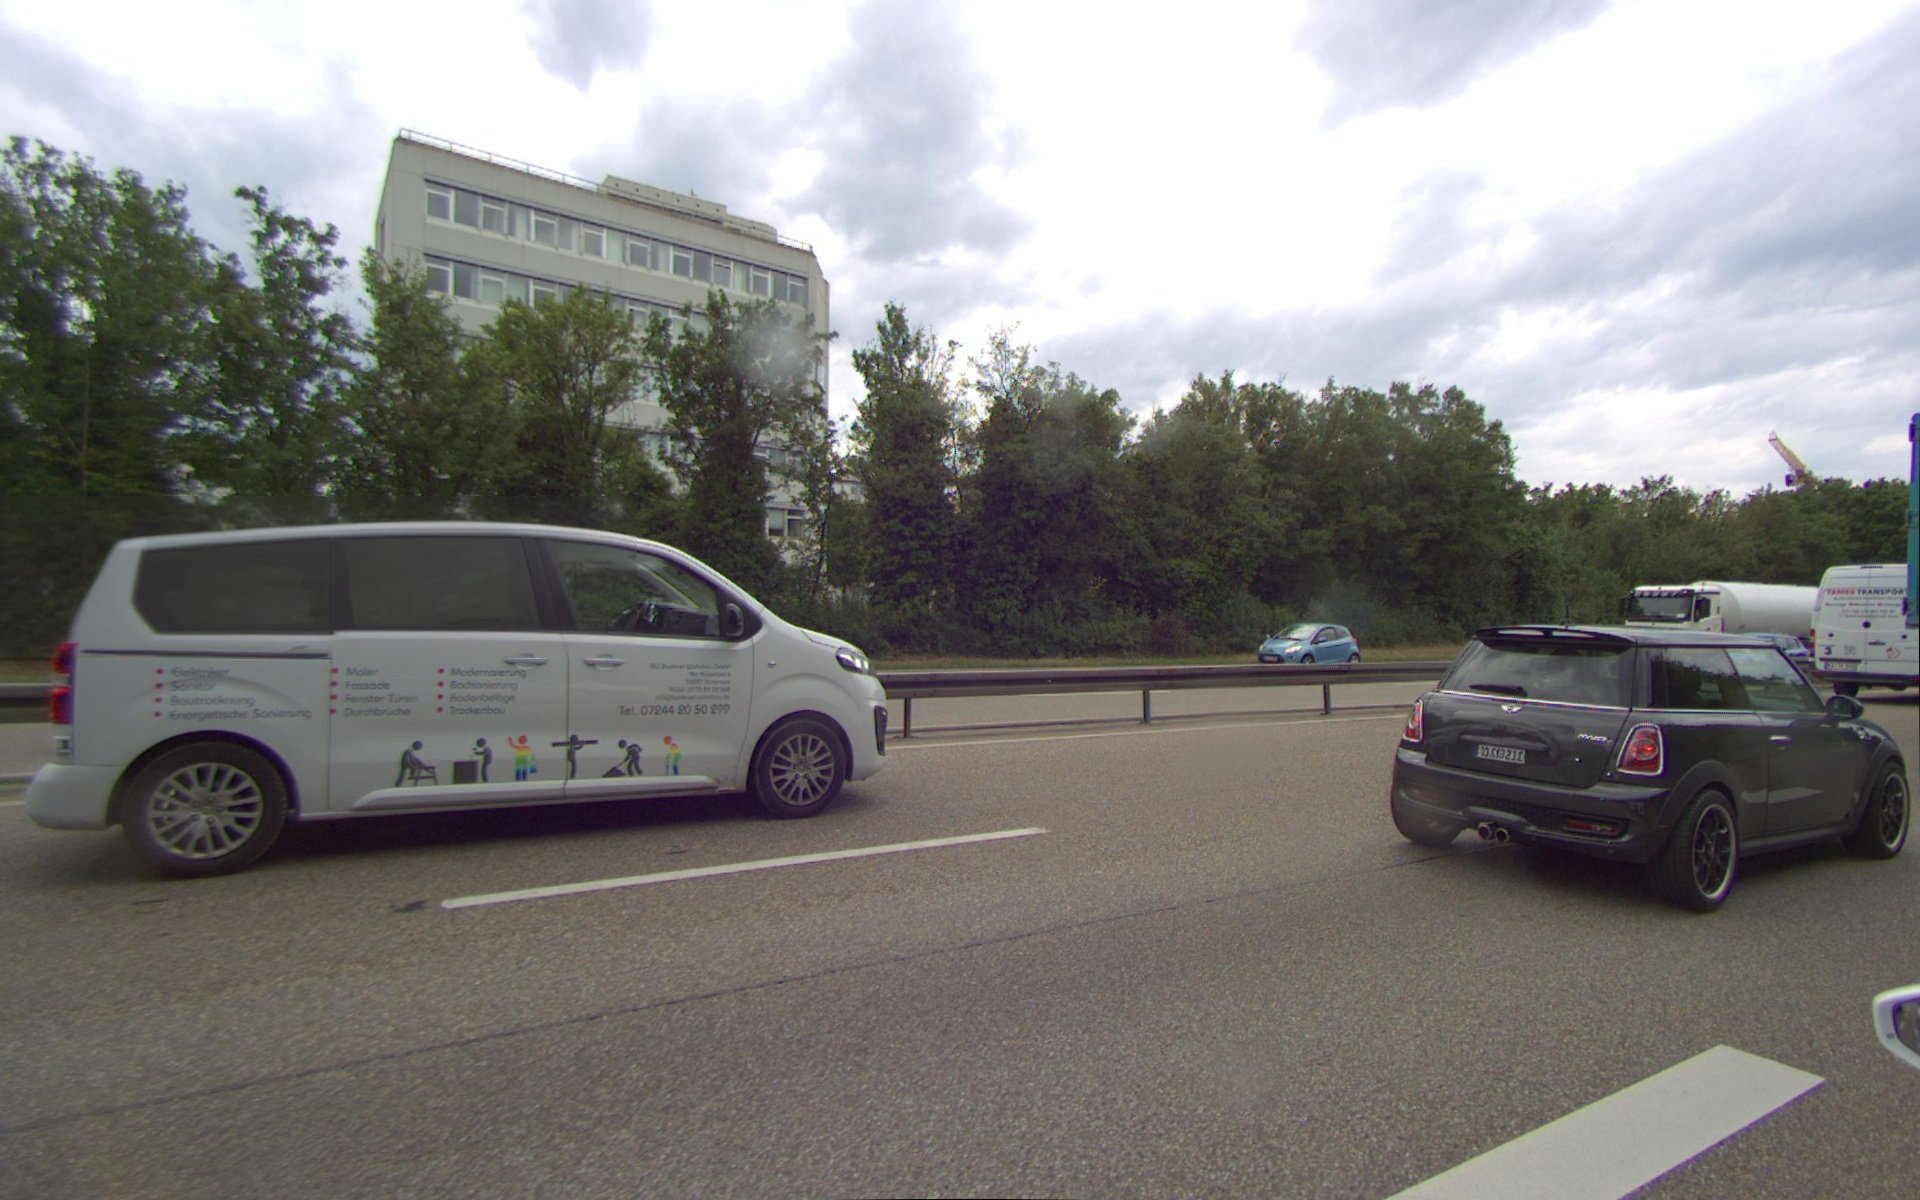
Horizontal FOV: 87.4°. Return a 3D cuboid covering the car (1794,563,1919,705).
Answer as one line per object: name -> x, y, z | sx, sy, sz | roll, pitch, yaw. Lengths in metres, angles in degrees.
car -> 20.257, 0.712, 20.810 | 6.714, 2.612, 2.213 | 2, 0, -28

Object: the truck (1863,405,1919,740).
truck -> 16.291, -0.216, 13.583 | 11.199, 3.847, 2.915 | 1, -1, -31

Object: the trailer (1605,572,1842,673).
trailer -> 29.208, 0.909, 38.114 | 12.310, 3.441, 2.460 | 1, -1, -29

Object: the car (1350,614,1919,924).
car -> 4.422, 0.846, 6.441 | 3.622, 1.441, 1.739 | 1, -1, -31

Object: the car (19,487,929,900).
car -> -2.756, 0.494, 6.722 | 4.821, 1.917, 1.841 | 1, -1, -31

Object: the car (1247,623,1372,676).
car -> 10.670, 1.475, 30.618 | 3.659, 1.521, 1.585 | 1, -1, -29
